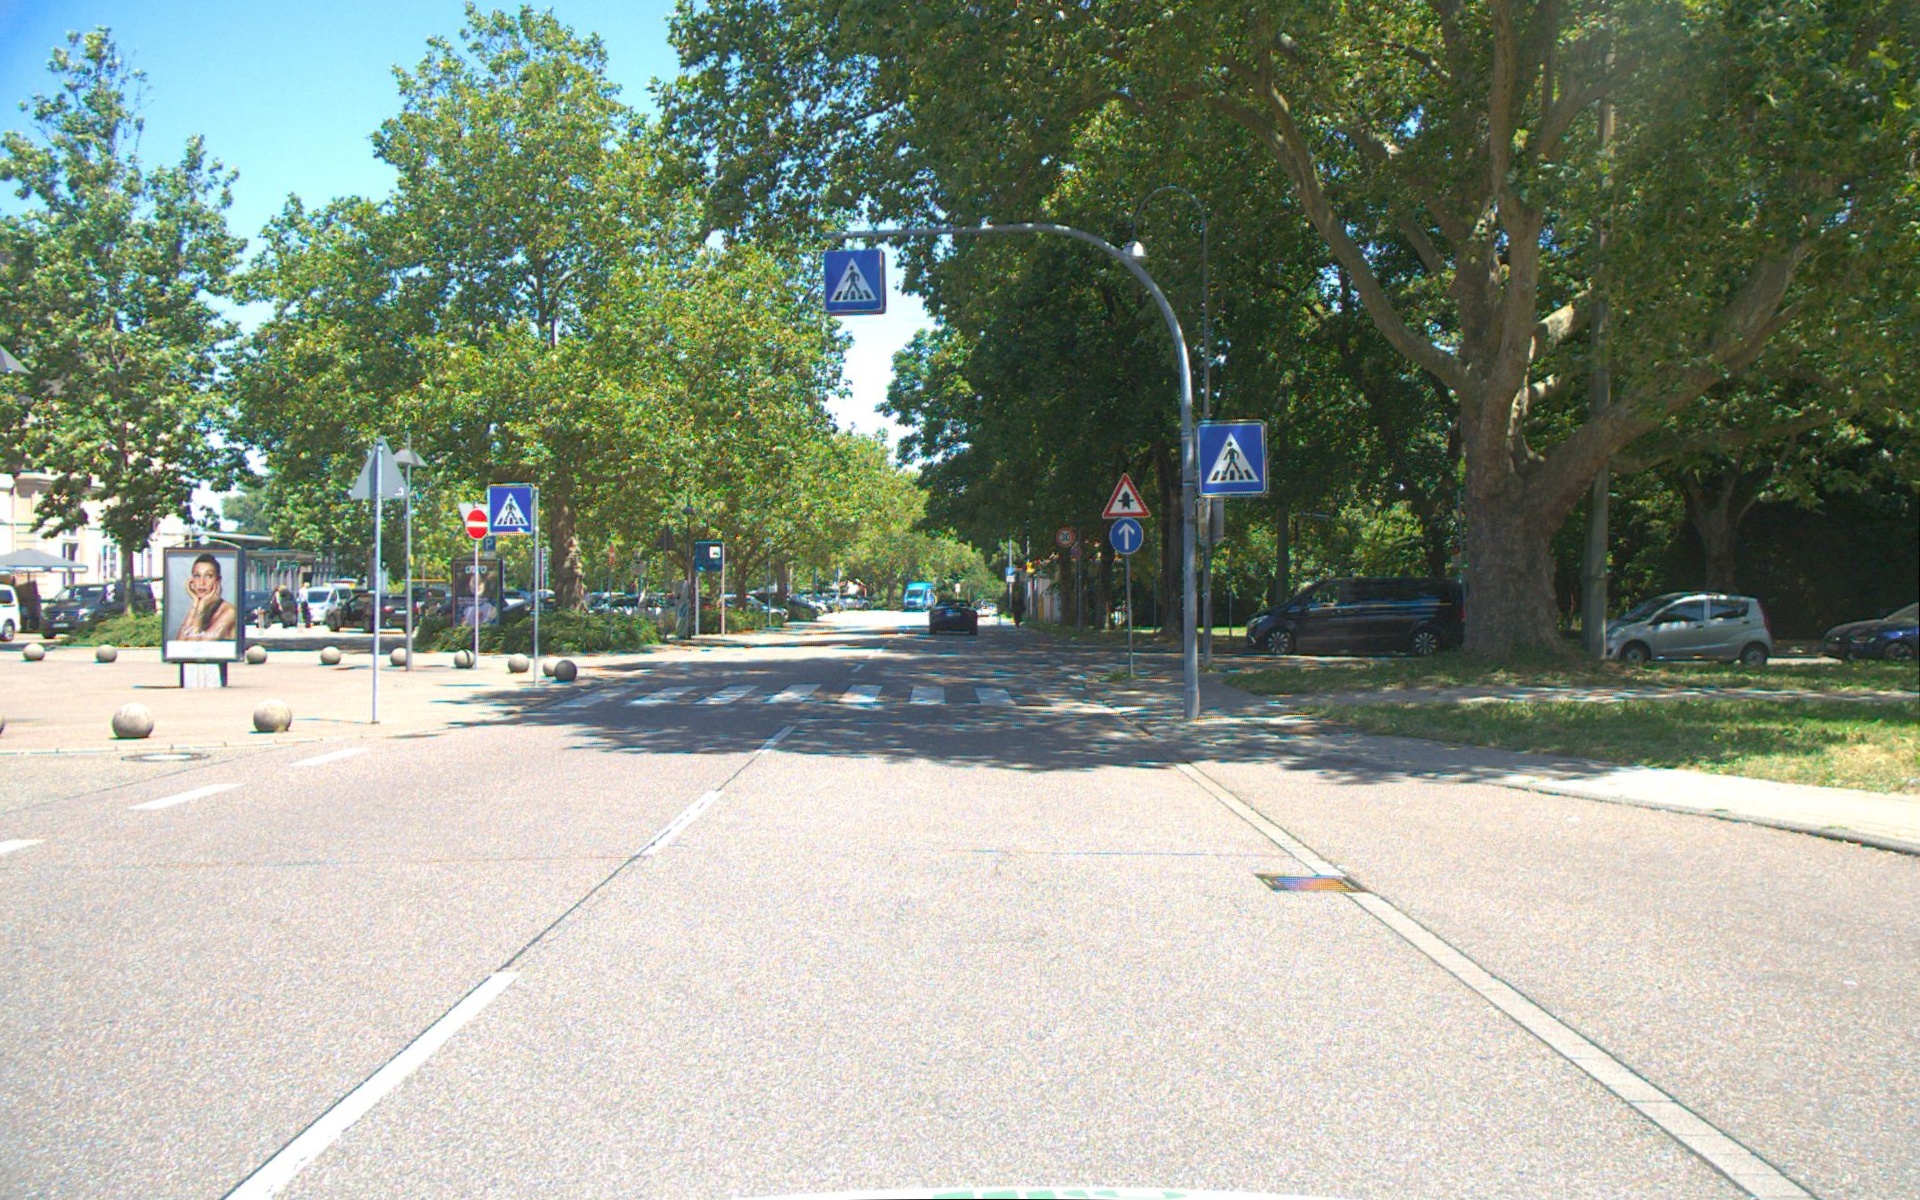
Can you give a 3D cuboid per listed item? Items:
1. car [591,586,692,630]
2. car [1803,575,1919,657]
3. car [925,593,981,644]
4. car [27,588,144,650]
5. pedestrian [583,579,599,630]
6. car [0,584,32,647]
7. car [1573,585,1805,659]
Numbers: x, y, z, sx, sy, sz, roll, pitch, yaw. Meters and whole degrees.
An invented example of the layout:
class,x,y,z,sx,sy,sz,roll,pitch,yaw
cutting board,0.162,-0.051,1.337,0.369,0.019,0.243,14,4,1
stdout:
class,x,y,z,sx,sy,sz,roll,pitch,yaw
car,-13.229,0.338,68.598,3.926,1.813,1.989,0,-1,-19
car,20.392,0.306,34.375,4.724,1.635,2.000,-1,0,1
car,-0.274,0.698,63.981,2.082,1.881,4.047,0,0,-1
car,-30.245,0.653,57.329,1.953,2.049,3.999,0,-1,-1
pedestrian,-14.909,0.195,66.756,0.614,2.049,0.568,0,-2,-14
car,-30.444,0.482,50.388,1.715,1.951,4.774,0,-1,-1
car,15.236,0.448,34.741,4.019,1.492,2.001,-1,0,4
